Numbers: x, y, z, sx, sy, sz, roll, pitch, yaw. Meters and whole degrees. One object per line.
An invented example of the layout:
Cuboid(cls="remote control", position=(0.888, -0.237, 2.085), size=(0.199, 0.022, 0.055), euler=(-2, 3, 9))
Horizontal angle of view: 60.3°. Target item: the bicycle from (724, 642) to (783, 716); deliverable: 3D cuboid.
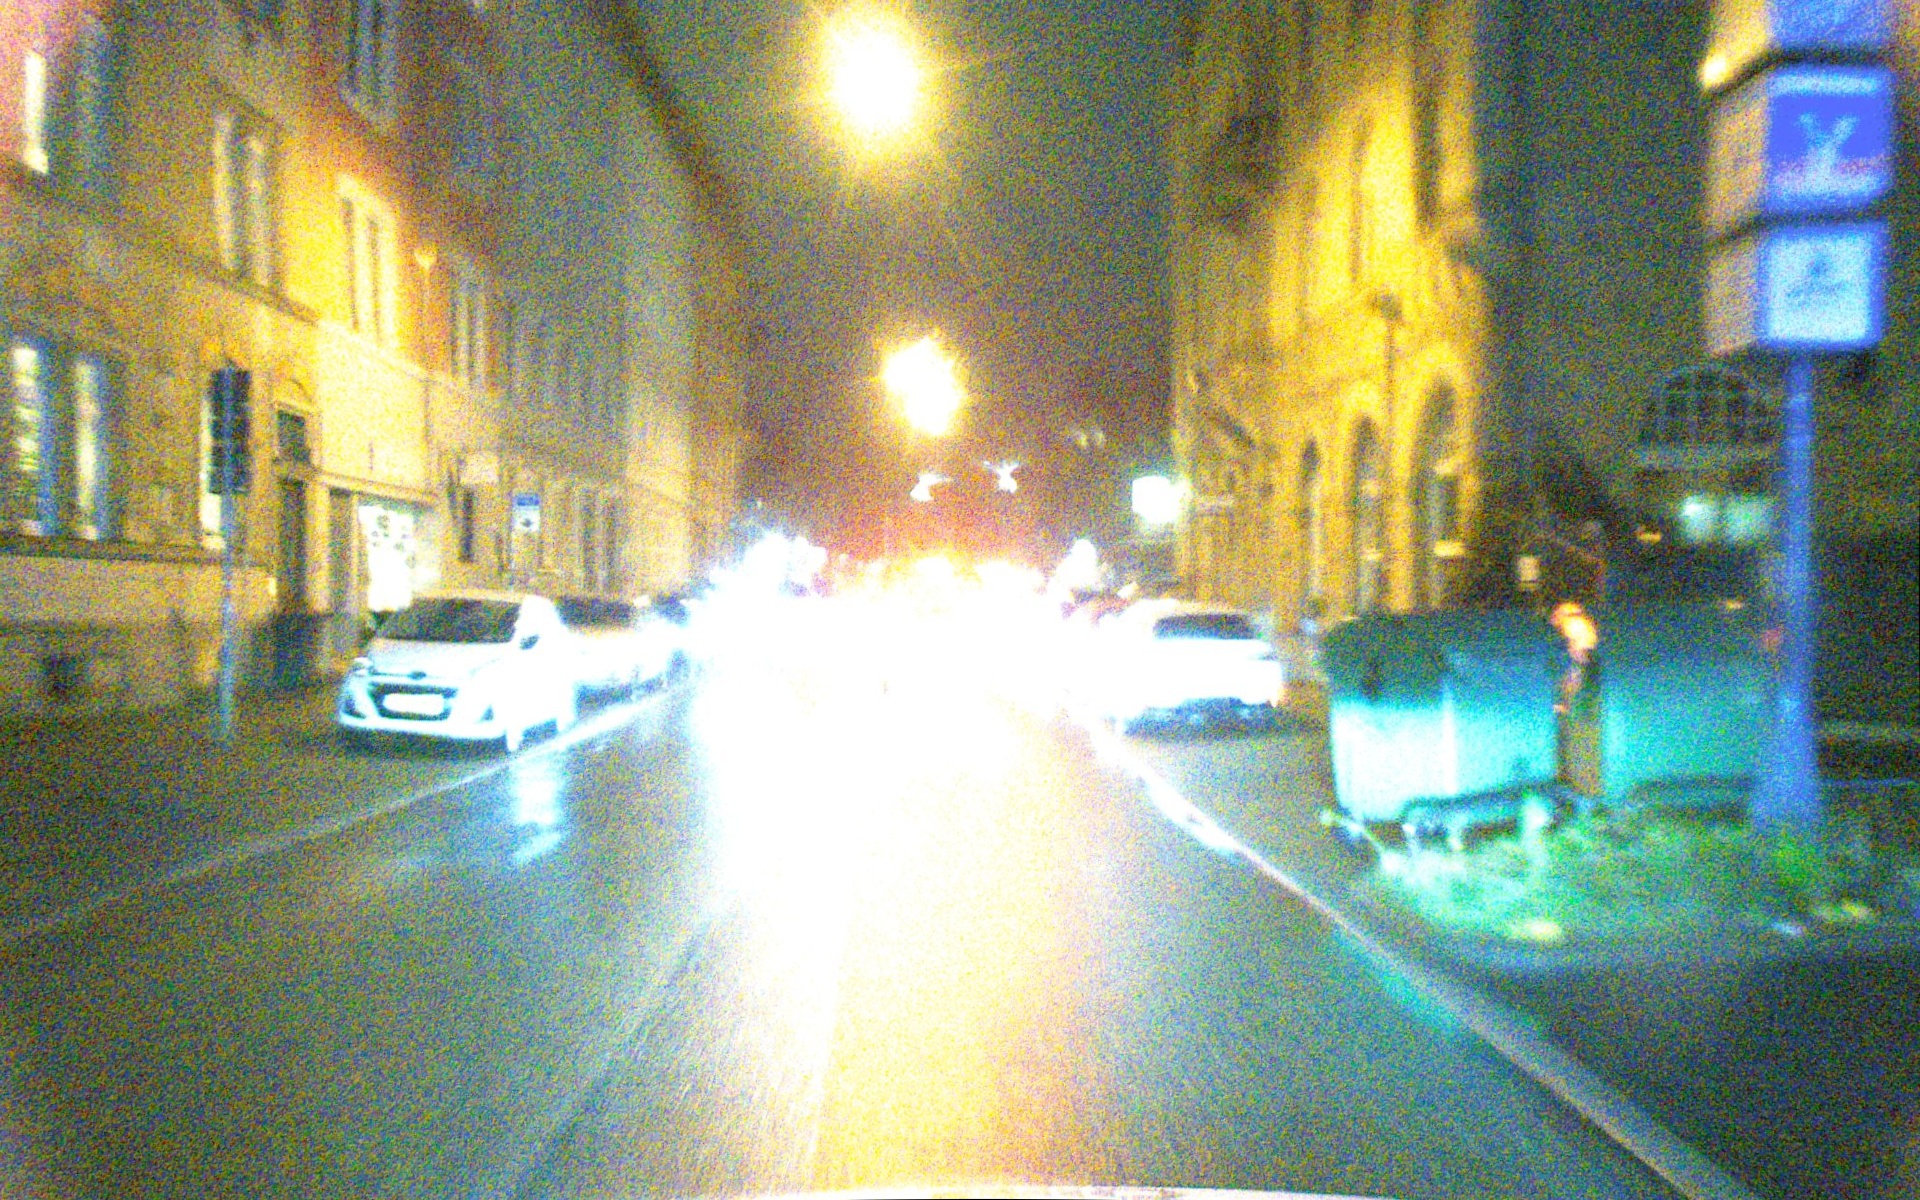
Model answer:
Cuboid(cls="bicycle", position=(-3.400, 1.280, 27.400), size=(0.712, 1.091, 2.348), euler=(0, 0, -1))

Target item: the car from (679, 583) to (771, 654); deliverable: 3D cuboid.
Cuboid(cls="car", position=(-5.652, 0.426, 40.096), size=(1.709, 1.616, 3.765), euler=(1, 0, -1))

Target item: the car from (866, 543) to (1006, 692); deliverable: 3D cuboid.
Cuboid(cls="car", position=(-0.347, 0.237, 25.808), size=(1.955, 2.084, 4.694), euler=(1, 0, 0))

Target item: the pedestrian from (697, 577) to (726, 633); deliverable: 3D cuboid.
Cuboid(cls="pedestrian", position=(-8.469, 0.168, 56.346), size=(0.727, 1.836, 0.987), euler=(3, -1, 3))

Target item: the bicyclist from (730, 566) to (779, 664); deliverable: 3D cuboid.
Cuboid(cls="bicyclist", position=(-3.387, 0.241, 27.348), size=(0.704, 1.583, 0.895), euler=(0, 0, -1))

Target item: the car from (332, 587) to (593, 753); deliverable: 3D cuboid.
Cuboid(cls="car", position=(-5.118, 0.656, 17.497), size=(1.638, 1.517, 3.721), euler=(2, 0, -1))

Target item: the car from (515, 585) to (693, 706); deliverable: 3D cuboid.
Cuboid(cls="car", position=(-5.075, 0.604, 24.122), size=(1.738, 1.599, 4.134), euler=(1, 0, -1))

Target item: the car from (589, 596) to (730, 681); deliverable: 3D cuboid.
Cuboid(cls="car", position=(-5.335, 0.637, 29.851), size=(1.785, 1.414, 4.425), euler=(1, 0, -1))

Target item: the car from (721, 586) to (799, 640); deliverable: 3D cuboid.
Cuboid(cls="car", position=(-5.940, 0.359, 49.587), size=(1.795, 1.512, 4.594), euler=(1, 0, -1))

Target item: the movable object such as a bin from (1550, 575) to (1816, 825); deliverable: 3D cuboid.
Cuboid(cls="movable object such as a bin", position=(4.462, 0.585, 10.323), size=(1.281, 1.454, 1.051), euler=(1, 0, 9))

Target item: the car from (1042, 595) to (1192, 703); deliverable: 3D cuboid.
Cuboid(cls="car", position=(2.319, 0.692, 25.320), size=(1.656, 1.524, 3.888), euler=(0, 0, -5))

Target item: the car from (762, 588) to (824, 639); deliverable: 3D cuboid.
Cuboid(cls="car", position=(-6.010, 0.449, 59.997), size=(1.795, 1.747, 4.594), euler=(1, 0, -1))

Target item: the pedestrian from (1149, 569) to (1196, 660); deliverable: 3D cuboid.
Cuboid(cls="pedestrian", position=(4.360, 0.283, 33.958), size=(0.844, 1.819, 1.083), euler=(-1, 1, 2))

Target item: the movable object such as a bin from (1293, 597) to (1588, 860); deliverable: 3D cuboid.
Cuboid(cls="movable object such as a bin", position=(2.928, 0.720, 10.099), size=(1.327, 1.454, 1.185), euler=(1, 0, -37))

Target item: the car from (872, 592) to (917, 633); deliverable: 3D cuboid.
Cuboid(cls="car", position=(-2.857, 0.525, 72.437), size=(1.882, 1.646, 4.573), euler=(-1, 1, -2))

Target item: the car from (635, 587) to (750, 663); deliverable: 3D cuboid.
Cuboid(cls="car", position=(-5.651, 0.495, 35.387), size=(1.795, 1.507, 4.306), euler=(1, 0, -1))

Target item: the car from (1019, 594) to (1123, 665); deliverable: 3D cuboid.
Cuboid(cls="car", position=(2.356, 0.604, 35.984), size=(1.878, 1.436, 3.999), euler=(0, 0, -2))

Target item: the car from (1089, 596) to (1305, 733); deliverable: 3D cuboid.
Cuboid(cls="car", position=(2.777, 0.700, 20.367), size=(1.953, 1.489, 4.416), euler=(1, 0, -1))

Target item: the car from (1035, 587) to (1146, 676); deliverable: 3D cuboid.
Cuboid(cls="car", position=(2.337, 0.543, 30.524), size=(1.655, 1.524, 3.890), euler=(0, 0, -1))
